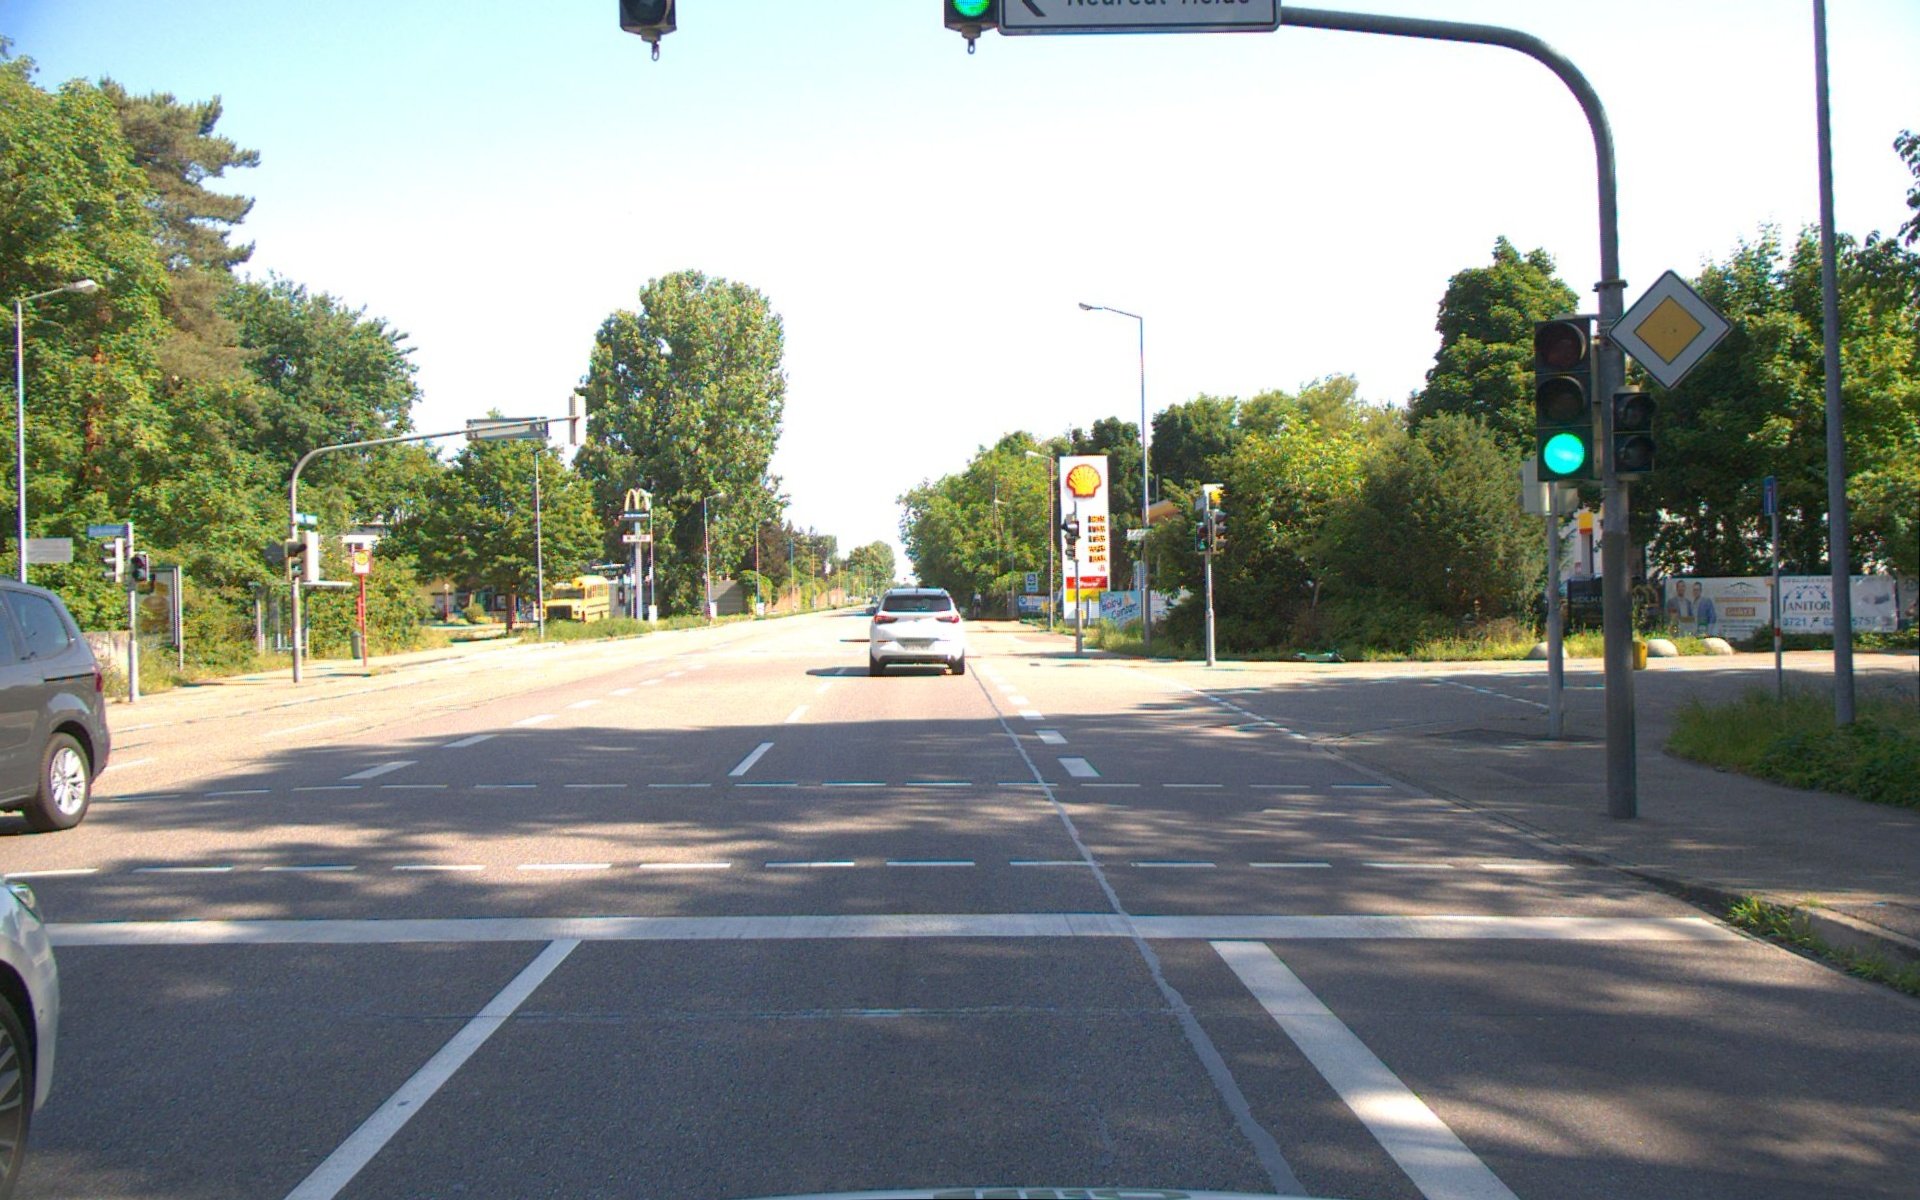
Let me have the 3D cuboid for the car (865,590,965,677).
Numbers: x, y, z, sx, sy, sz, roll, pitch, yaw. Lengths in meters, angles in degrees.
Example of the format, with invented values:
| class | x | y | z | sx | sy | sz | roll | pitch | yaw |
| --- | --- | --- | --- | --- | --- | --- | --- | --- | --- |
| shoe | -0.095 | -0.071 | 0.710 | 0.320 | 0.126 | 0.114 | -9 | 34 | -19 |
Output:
| class | x | y | z | sx | sy | sz | roll | pitch | yaw |
| --- | --- | --- | --- | --- | --- | --- | --- | --- | --- |
| car | -0.867 | 0.629 | 32.327 | 1.809 | 1.568 | 4.223 | 0 | 0 | -1 |

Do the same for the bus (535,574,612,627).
| class | x | y | z | sx | sy | sz | roll | pitch | yaw |
| --- | --- | --- | --- | --- | --- | --- | --- | --- | --- |
| bus | -21.043 | 0.044 | 90.522 | 2.528 | 2.726 | 8.990 | 0 | 0 | -3 |

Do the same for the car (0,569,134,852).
| class | x | y | z | sx | sy | sz | roll | pitch | yaw |
| --- | --- | --- | --- | --- | --- | --- | --- | --- | --- |
| car | -6.740 | 0.710 | 9.552 | 1.755 | 1.726 | 4.390 | -3 | 0 | -1 |

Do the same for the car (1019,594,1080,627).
| class | x | y | z | sx | sy | sz | roll | pitch | yaw |
| --- | --- | --- | --- | --- | --- | --- | --- | --- | --- |
| car | 4.475 | 0.541 | 82.627 | 2.683 | 1.557 | 1.568 | -1 | -2 | 43 |

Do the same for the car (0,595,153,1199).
| class | x | y | z | sx | sy | sz | roll | pitch | yaw |
| --- | --- | --- | --- | --- | --- | --- | --- | --- | --- |
| car | -2.971 | 0.729 | 2.150 | 1.748 | 1.449 | 4.422 | 0 | 0 | -1 |
